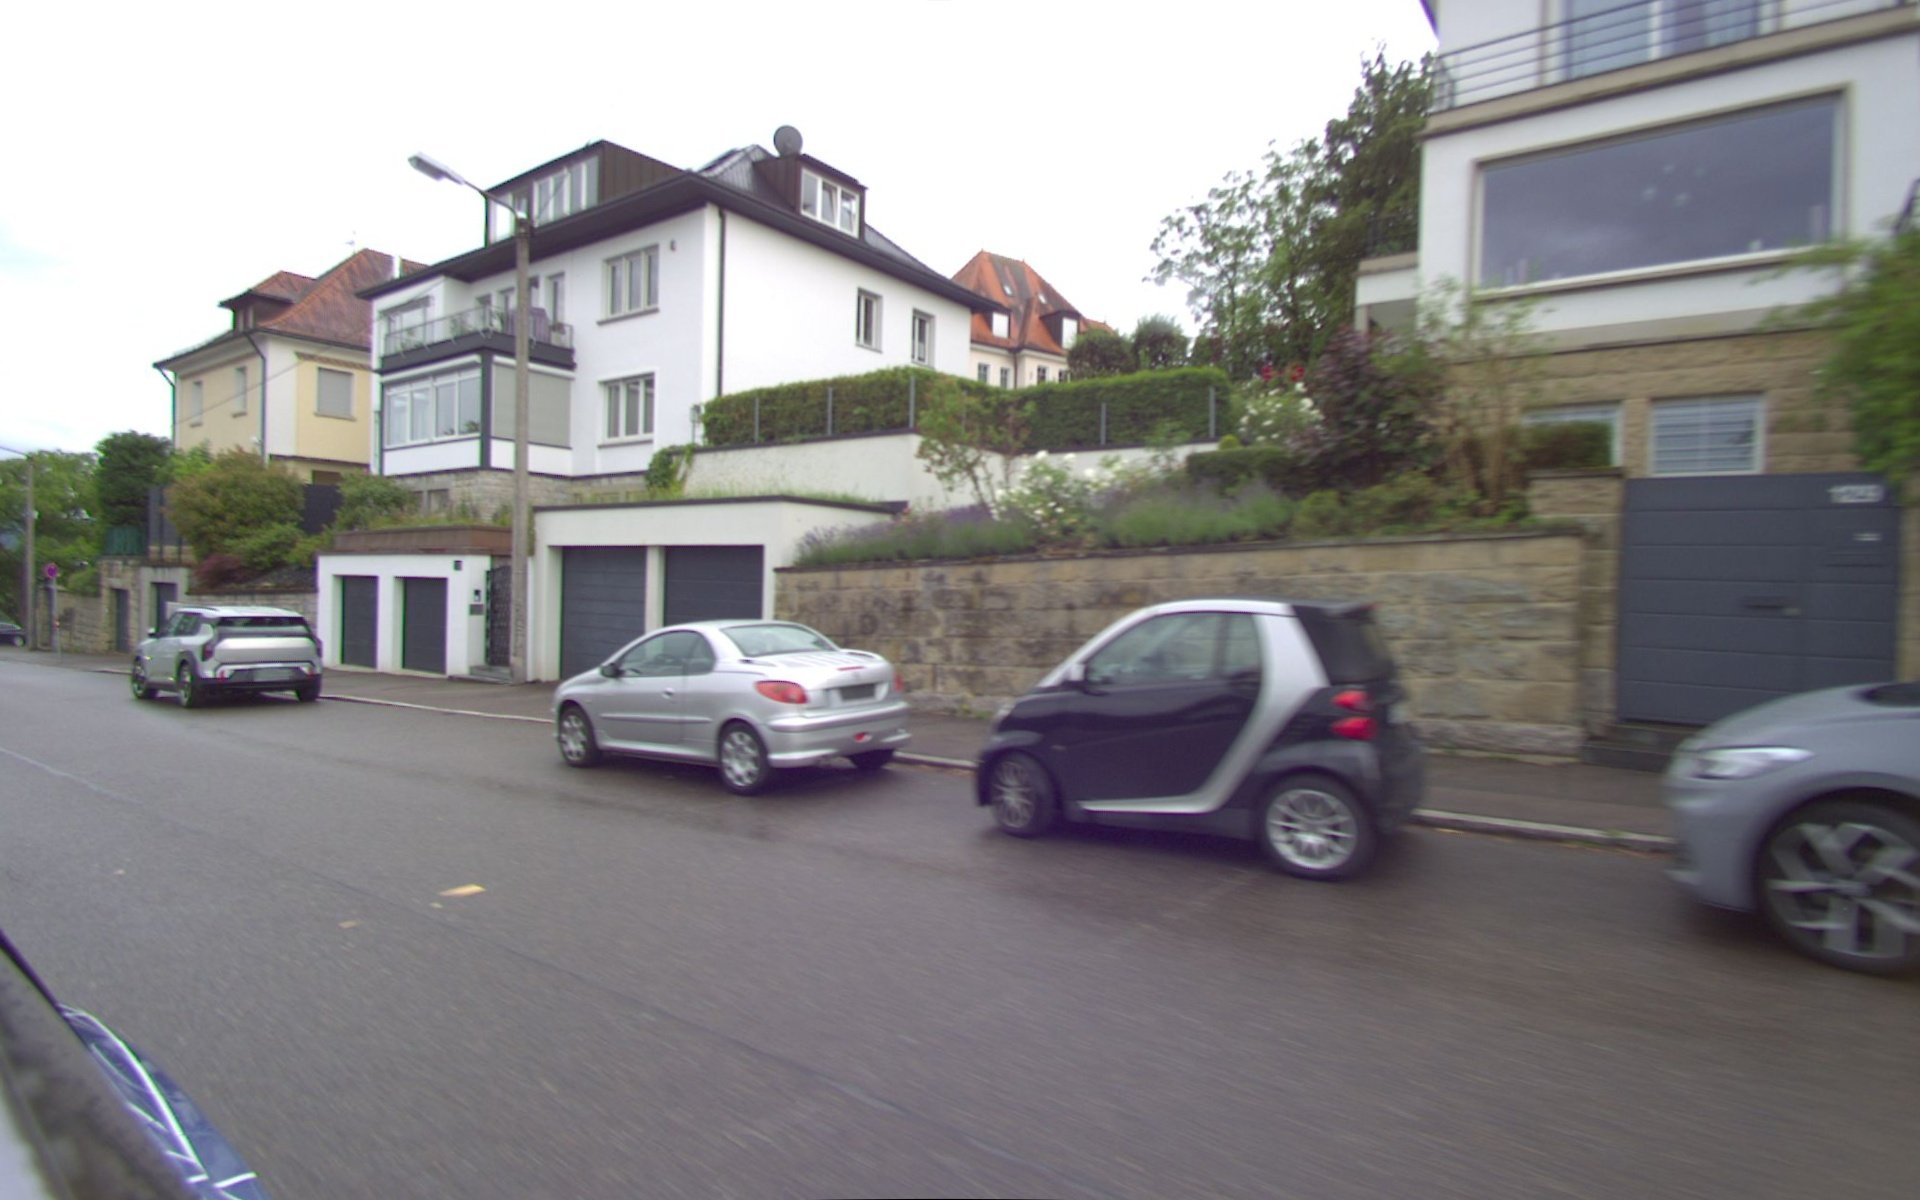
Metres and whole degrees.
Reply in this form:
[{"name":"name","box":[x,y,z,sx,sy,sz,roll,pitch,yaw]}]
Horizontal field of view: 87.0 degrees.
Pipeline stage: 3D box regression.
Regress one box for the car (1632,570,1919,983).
[{"name":"car","box":[5.126,0.619,3.624,4.339,1.526,1.879,-1,0,40]}]

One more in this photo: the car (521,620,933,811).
[{"name":"car","box":[-2.233,0.889,9.207,3.835,1.348,1.594,-1,0,38]}]

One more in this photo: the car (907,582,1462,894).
[{"name":"car","box":[1.364,0.711,6.499,3.150,1.535,1.484,-1,-1,34]}]

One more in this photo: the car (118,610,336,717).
[{"name":"car","box":[-12.406,0.992,17.043,4.232,1.579,1.880,-1,-2,38]}]

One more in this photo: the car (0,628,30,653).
[{"name":"car","box":[-61.999,2.541,64.034,1.839,1.554,4.896,2,-3,-2]}]

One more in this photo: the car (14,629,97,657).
[{"name":"car","box":[-62.157,2.991,69.638,1.727,1.835,4.423,2,-4,-1]}]
